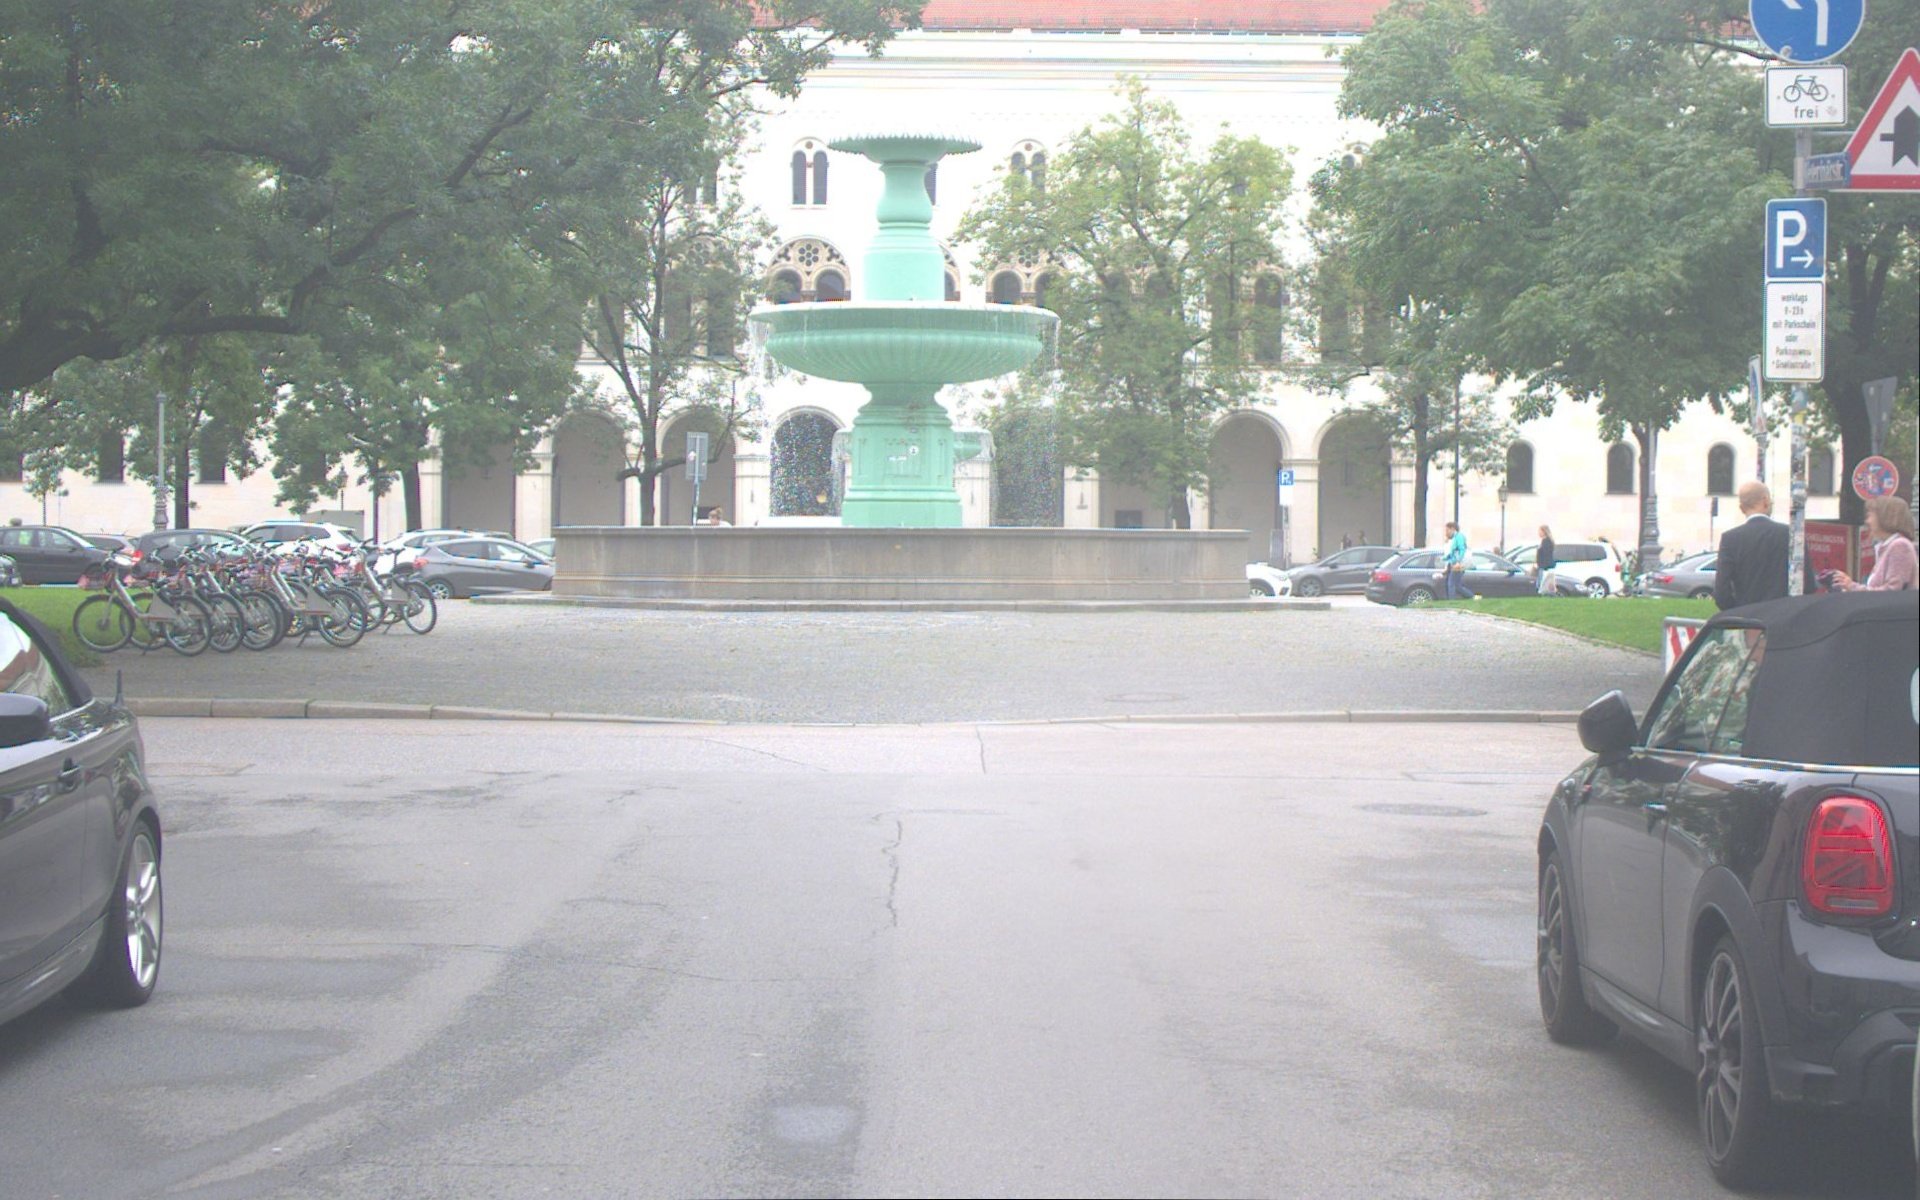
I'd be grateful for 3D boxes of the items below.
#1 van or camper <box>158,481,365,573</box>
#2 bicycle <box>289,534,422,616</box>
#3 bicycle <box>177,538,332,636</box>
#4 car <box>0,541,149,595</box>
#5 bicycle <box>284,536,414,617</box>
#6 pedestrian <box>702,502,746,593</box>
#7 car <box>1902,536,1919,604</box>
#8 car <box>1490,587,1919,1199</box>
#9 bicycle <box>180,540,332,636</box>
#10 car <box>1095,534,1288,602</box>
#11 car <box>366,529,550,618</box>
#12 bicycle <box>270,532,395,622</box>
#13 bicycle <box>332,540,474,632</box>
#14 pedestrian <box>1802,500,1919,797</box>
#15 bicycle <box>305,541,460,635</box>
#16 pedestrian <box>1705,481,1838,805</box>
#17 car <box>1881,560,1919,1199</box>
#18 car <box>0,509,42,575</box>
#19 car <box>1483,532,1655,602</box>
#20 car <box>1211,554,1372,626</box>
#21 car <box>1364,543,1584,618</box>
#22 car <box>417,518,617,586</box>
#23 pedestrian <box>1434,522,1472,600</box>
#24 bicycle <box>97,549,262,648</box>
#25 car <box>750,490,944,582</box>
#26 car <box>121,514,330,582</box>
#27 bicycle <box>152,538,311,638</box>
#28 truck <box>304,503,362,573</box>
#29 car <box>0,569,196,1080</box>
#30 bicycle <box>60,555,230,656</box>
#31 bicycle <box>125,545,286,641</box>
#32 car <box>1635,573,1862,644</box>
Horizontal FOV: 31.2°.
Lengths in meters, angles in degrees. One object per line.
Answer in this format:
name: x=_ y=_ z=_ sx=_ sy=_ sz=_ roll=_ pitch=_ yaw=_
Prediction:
van or camper: x=-16.802 y=-1.753 z=82.829 sx=4.579 sy=2.007 sz=2.000 roll=-2 pitch=0 yaw=-3
bicycle: x=-7.831 y=-0.330 z=44.523 sx=1.536 sy=1.016 sz=0.698 roll=2 pitch=2 yaw=11
bicycle: x=-8.243 y=-0.157 z=40.172 sx=1.619 sy=1.095 sz=0.698 roll=2 pitch=2 yaw=11
car: x=-23.312 y=-0.845 z=90.303 sx=3.671 sy=1.371 sz=1.603 roll=0 pitch=2 yaw=-2
bicycle: x=-8.079 y=-0.319 z=45.456 sx=1.536 sy=1.016 sz=0.698 roll=2 pitch=2 yaw=11
pedestrian: x=-4.301 y=-0.960 z=62.751 sx=0.750 sy=1.634 sz=0.710 roll=0 pitch=2 yaw=-1
car: x=22.217 y=-0.618 z=72.199 sx=4.357 sy=1.413 sz=1.804 roll=0 pitch=2 yaw=1
car: x=2.530 y=0.706 z=9.501 sx=1.540 sy=1.421 sz=3.772 roll=1 pitch=1 yaw=0
bicycle: x=-8.430 y=-0.146 z=41.189 sx=1.619 sy=1.095 sz=0.698 roll=2 pitch=2 yaw=11
car: x=4.847 y=-0.689 z=72.311 sx=3.987 sy=1.398 sz=1.824 roll=0 pitch=1 yaw=2
car: x=-11.253 y=-0.606 z=77.206 sx=3.888 sy=1.862 sz=1.772 roll=1 pitch=2 yaw=-1
bicycle: x=-7.964 y=-0.294 z=43.651 sx=1.401 sy=1.095 sz=0.656 roll=2 pitch=2 yaw=11
bicycle: x=-6.899 y=-0.178 z=42.601 sx=1.619 sy=1.095 sz=0.616 roll=2 pitch=2 yaw=11
pedestrian: x=5.281 y=0.271 z=19.818 sx=0.620 sy=1.676 sz=0.546 roll=2 pitch=1 yaw=-6
bicycle: x=-7.035 y=-0.154 z=41.896 sx=1.711 sy=1.095 sz=0.698 roll=2 pitch=2 yaw=11
pedestrian: x=4.587 y=0.233 z=19.461 sx=0.642 sy=1.802 sz=0.489 roll=1 pitch=1 yaw=5
car: x=2.717 y=0.713 z=4.661 sx=1.789 sy=1.471 sz=4.313 roll=0 pitch=2 yaw=0
car: x=-22.106 y=-1.247 z=72.351 sx=5.072 sy=1.371 sz=2.000 roll=0 pitch=2 yaw=-2
car: x=15.992 y=-0.875 z=90.402 sx=4.096 sy=1.735 sz=1.747 roll=1 pitch=2 yaw=-4
car: x=8.700 y=-0.273 z=90.457 sx=3.986 sy=1.744 sz=1.808 roll=1 pitch=2 yaw=-1
car: x=10.778 y=-0.422 z=72.312 sx=4.357 sy=1.519 sz=1.804 roll=0 pitch=2 yaw=1
car: x=-9.285 y=-1.012 z=72.229 sx=3.986 sy=1.371 sz=2.000 roll=0 pitch=2 yaw=-2
pedestrian: x=9.349 y=-0.750 z=65.176 sx=0.583 sy=1.460 sz=0.547 roll=1 pitch=2 yaw=23
bicycle: x=-8.619 y=-0.026 z=37.976 sx=1.619 sy=1.032 sz=0.698 roll=2 pitch=2 yaw=11
car: x=-2.596 y=-1.499 z=79.835 sx=4.326 sy=2.006 sz=1.824 roll=1 pitch=2 yaw=3
car: x=-15.363 y=-1.103 z=72.013 sx=3.986 sy=1.371 sz=2.000 roll=0 pitch=2 yaw=-2
bicycle: x=-8.355 y=-0.144 z=39.449 sx=1.619 sy=1.095 sz=0.698 roll=2 pitch=2 yaw=11
truck: x=-23.154 y=-2.301 z=126.827 sx=1.993 sy=2.480 sz=4.002 roll=1 pitch=2 yaw=-11
car: x=-3.483 y=0.625 z=9.748 sx=1.698 sy=1.388 sz=4.212 roll=-1 pitch=1 yaw=0
bicycle: x=-8.785 y=0.048 z=37.073 sx=1.619 sy=1.032 sz=0.698 roll=2 pitch=2 yaw=11
bicycle: x=-8.487 y=-0.087 z=38.691 sx=1.619 sy=1.032 sz=0.698 roll=2 pitch=2 yaw=11
car: x=16.560 y=0.166 z=72.298 sx=4.357 sy=1.413 sz=1.804 roll=0 pitch=2 yaw=1
